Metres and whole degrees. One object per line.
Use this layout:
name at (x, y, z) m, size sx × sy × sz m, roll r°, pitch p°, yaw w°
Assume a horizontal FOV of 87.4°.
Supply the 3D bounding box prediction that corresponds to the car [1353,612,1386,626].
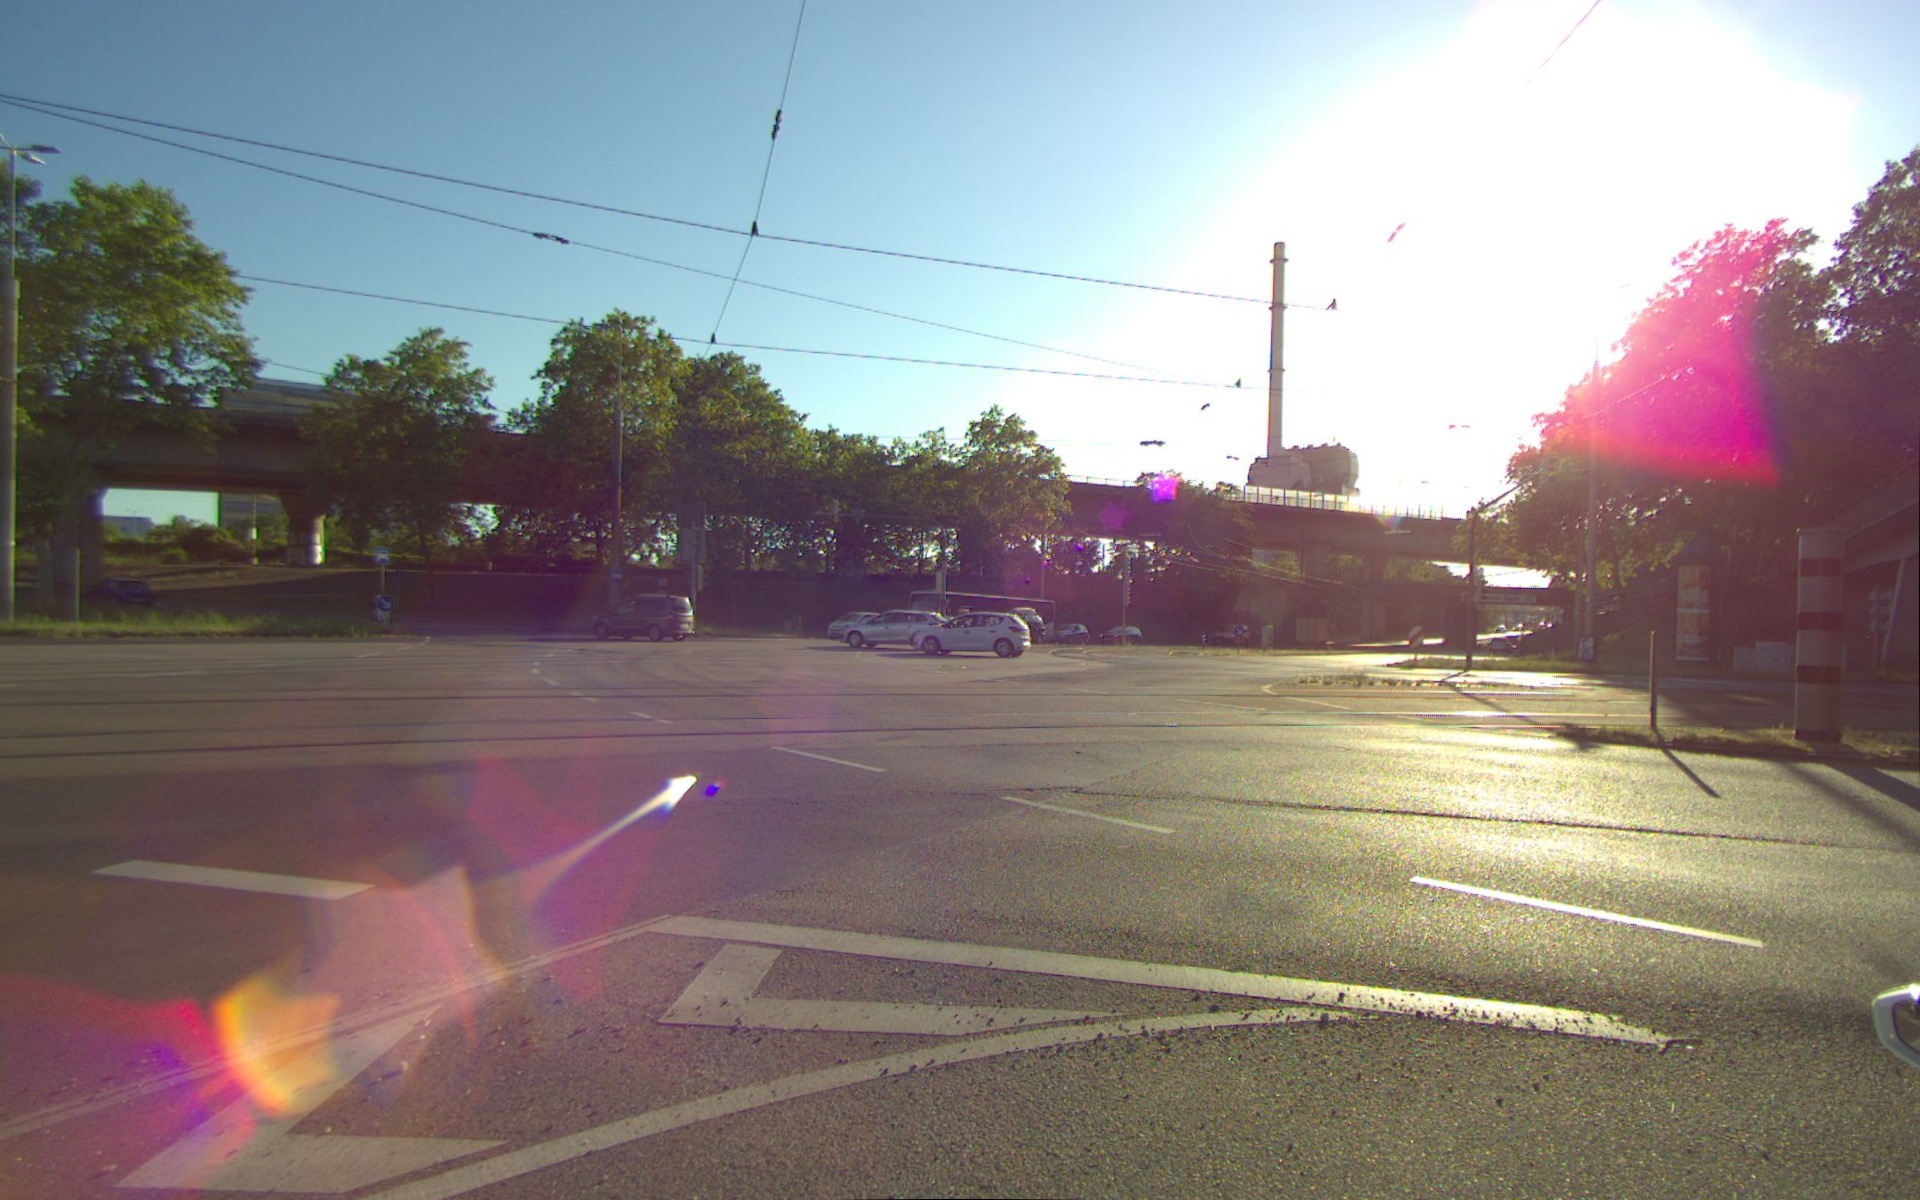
car at (57.219, 2.674, 140.374) m, size 3.945 × 1.794 × 1.988 m, roll 3°, pitch 0°, yaw -24°

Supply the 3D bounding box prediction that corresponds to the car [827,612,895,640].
car at (-5.181, 1.372, 52.875) m, size 1.581 × 1.372 × 3.726 m, roll 2°, pitch -1°, yaw 32°

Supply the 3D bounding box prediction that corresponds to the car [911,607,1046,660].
car at (0.648, 1.119, 34.331) m, size 4.221 × 1.630 × 1.858 m, roll 2°, pitch 0°, yaw 16°

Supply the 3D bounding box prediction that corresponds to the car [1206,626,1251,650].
car at (24.491, 3.440, 91.513) m, size 1.969 × 2.040 × 5.402 m, roll 1°, pitch -1°, yaw 39°

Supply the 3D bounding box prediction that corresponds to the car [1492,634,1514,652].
car at (55.743, 4.394, 103.078) m, size 1.687 × 1.674 × 4.209 m, roll 2°, pitch -1°, yaw 32°

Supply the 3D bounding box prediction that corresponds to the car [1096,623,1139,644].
car at (12.013, 2.560, 76.617) m, size 1.677 × 1.461 × 3.988 m, roll 2°, pitch -1°, yaw 34°

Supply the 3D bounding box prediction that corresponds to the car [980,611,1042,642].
car at (2.984, 1.521, 58.027) m, size 1.688 × 1.674 × 4.083 m, roll 2°, pitch -1°, yaw 34°

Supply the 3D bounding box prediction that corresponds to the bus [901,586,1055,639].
bus at (1.482, 0.870, 62.736) m, size 2.785 × 2.993 × 12.810 m, roll 2°, pitch -1°, yaw 36°

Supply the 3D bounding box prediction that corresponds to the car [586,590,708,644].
car at (-12.019, 0.633, 38.599) m, size 4.062 × 1.892 × 1.858 m, roll 2°, pitch 0°, yaw 16°

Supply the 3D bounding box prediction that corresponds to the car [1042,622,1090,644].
car at (7.562, 2.316, 71.493) m, size 1.677 × 1.461 × 3.988 m, roll 2°, pitch -1°, yaw 34°

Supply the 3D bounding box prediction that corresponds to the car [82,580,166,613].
car at (-43.609, -0.184, 52.421) m, size 3.862 × 1.579 × 1.998 m, roll 2°, pitch -1°, yaw 27°

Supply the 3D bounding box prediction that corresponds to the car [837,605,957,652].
car at (-2.432, 1.088, 39.077) m, size 4.282 × 1.630 × 1.858 m, roll 2°, pitch 0°, yaw 16°
